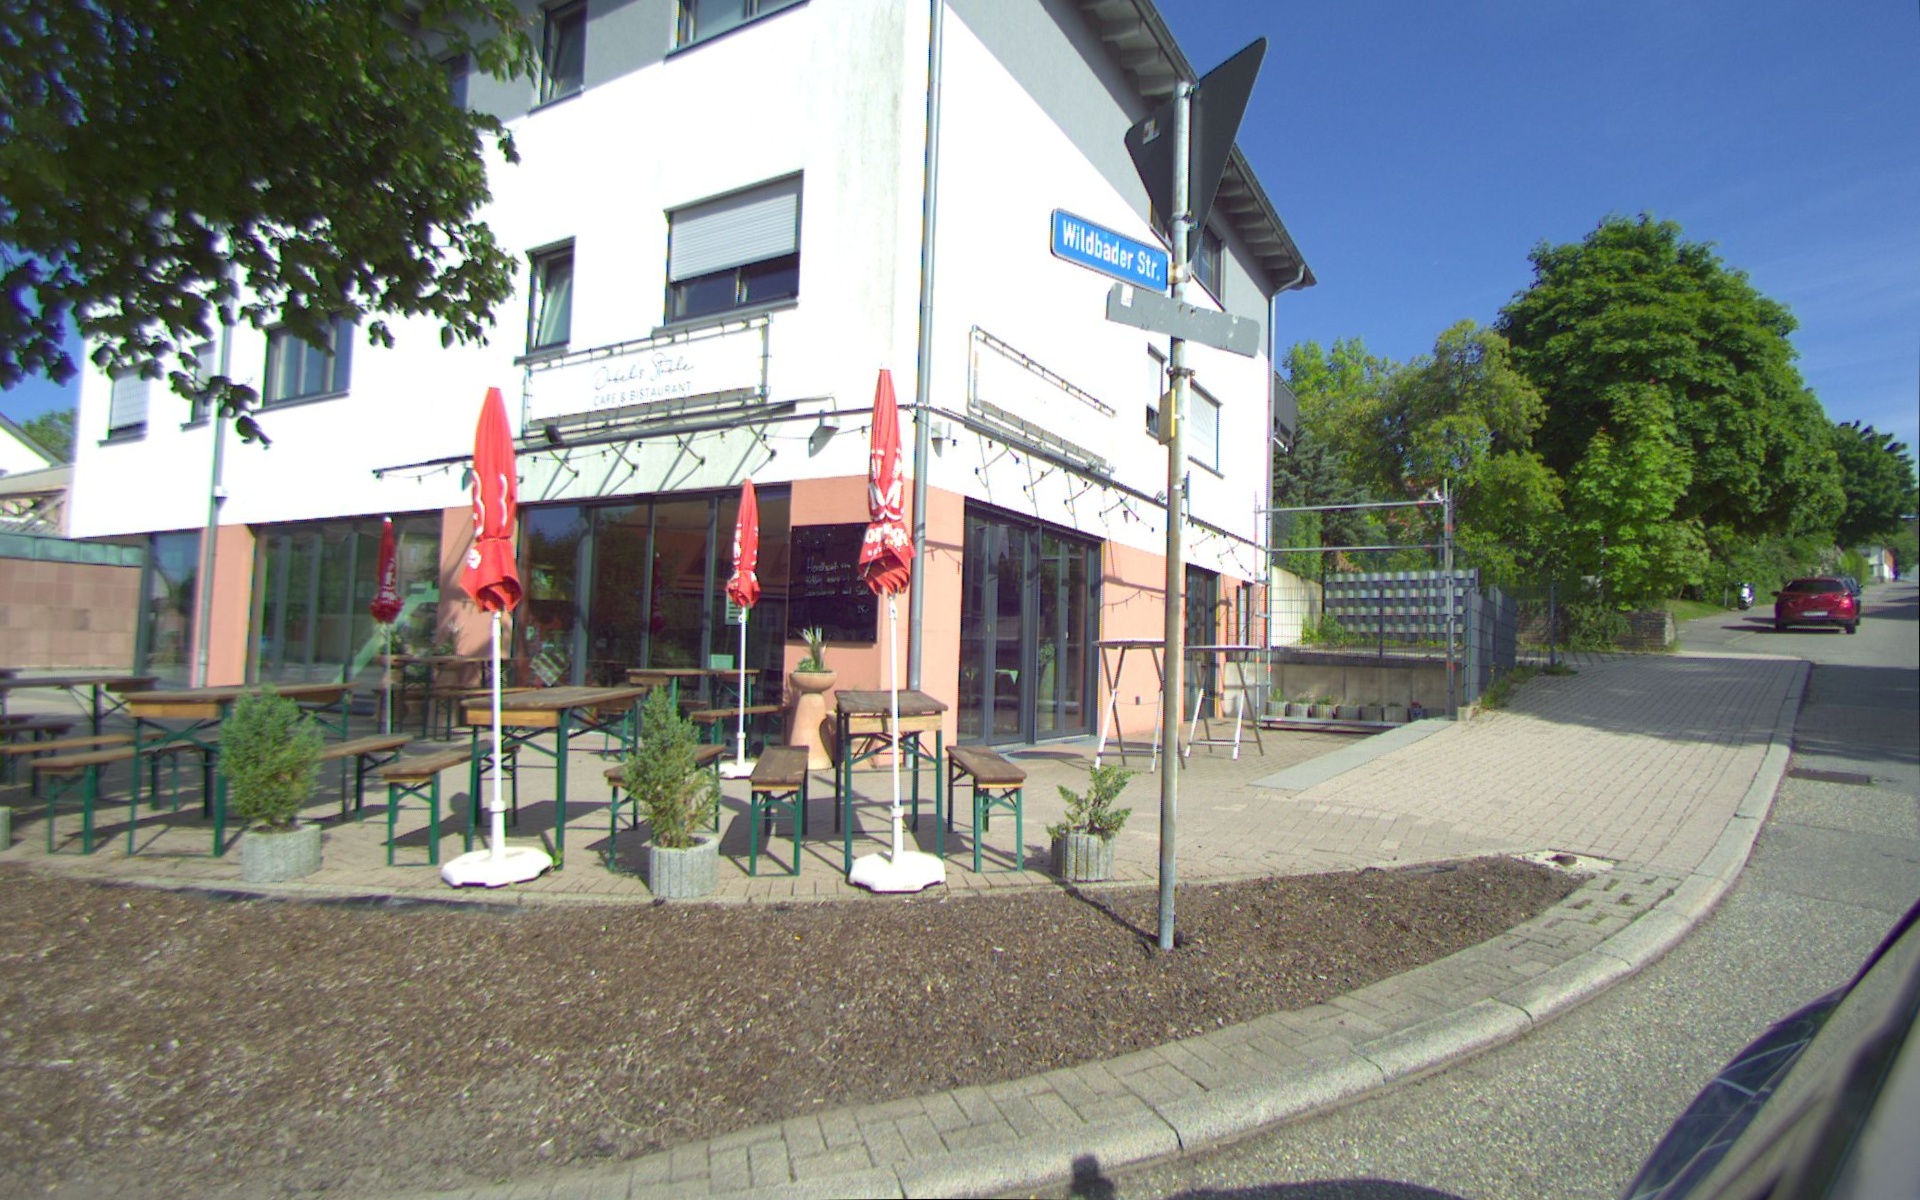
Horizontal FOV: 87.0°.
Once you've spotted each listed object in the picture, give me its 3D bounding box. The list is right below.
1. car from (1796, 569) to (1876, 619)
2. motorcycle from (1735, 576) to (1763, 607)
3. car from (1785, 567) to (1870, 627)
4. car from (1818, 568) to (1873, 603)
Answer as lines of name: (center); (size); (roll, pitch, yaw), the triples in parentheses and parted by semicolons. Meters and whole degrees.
car: (27.665, -0.213, 31.927); (1.770, 1.489, 3.752); (0, 1, 43)
motorcycle: (31.757, -0.348, 40.724); (0.782, 1.196, 2.156); (0, 1, 41)
car: (23.930, -0.108, 27.882); (1.619, 1.517, 3.752); (0, 1, 43)
car: (39.848, -0.667, 45.513); (1.770, 1.489, 3.752); (0, 1, 43)
